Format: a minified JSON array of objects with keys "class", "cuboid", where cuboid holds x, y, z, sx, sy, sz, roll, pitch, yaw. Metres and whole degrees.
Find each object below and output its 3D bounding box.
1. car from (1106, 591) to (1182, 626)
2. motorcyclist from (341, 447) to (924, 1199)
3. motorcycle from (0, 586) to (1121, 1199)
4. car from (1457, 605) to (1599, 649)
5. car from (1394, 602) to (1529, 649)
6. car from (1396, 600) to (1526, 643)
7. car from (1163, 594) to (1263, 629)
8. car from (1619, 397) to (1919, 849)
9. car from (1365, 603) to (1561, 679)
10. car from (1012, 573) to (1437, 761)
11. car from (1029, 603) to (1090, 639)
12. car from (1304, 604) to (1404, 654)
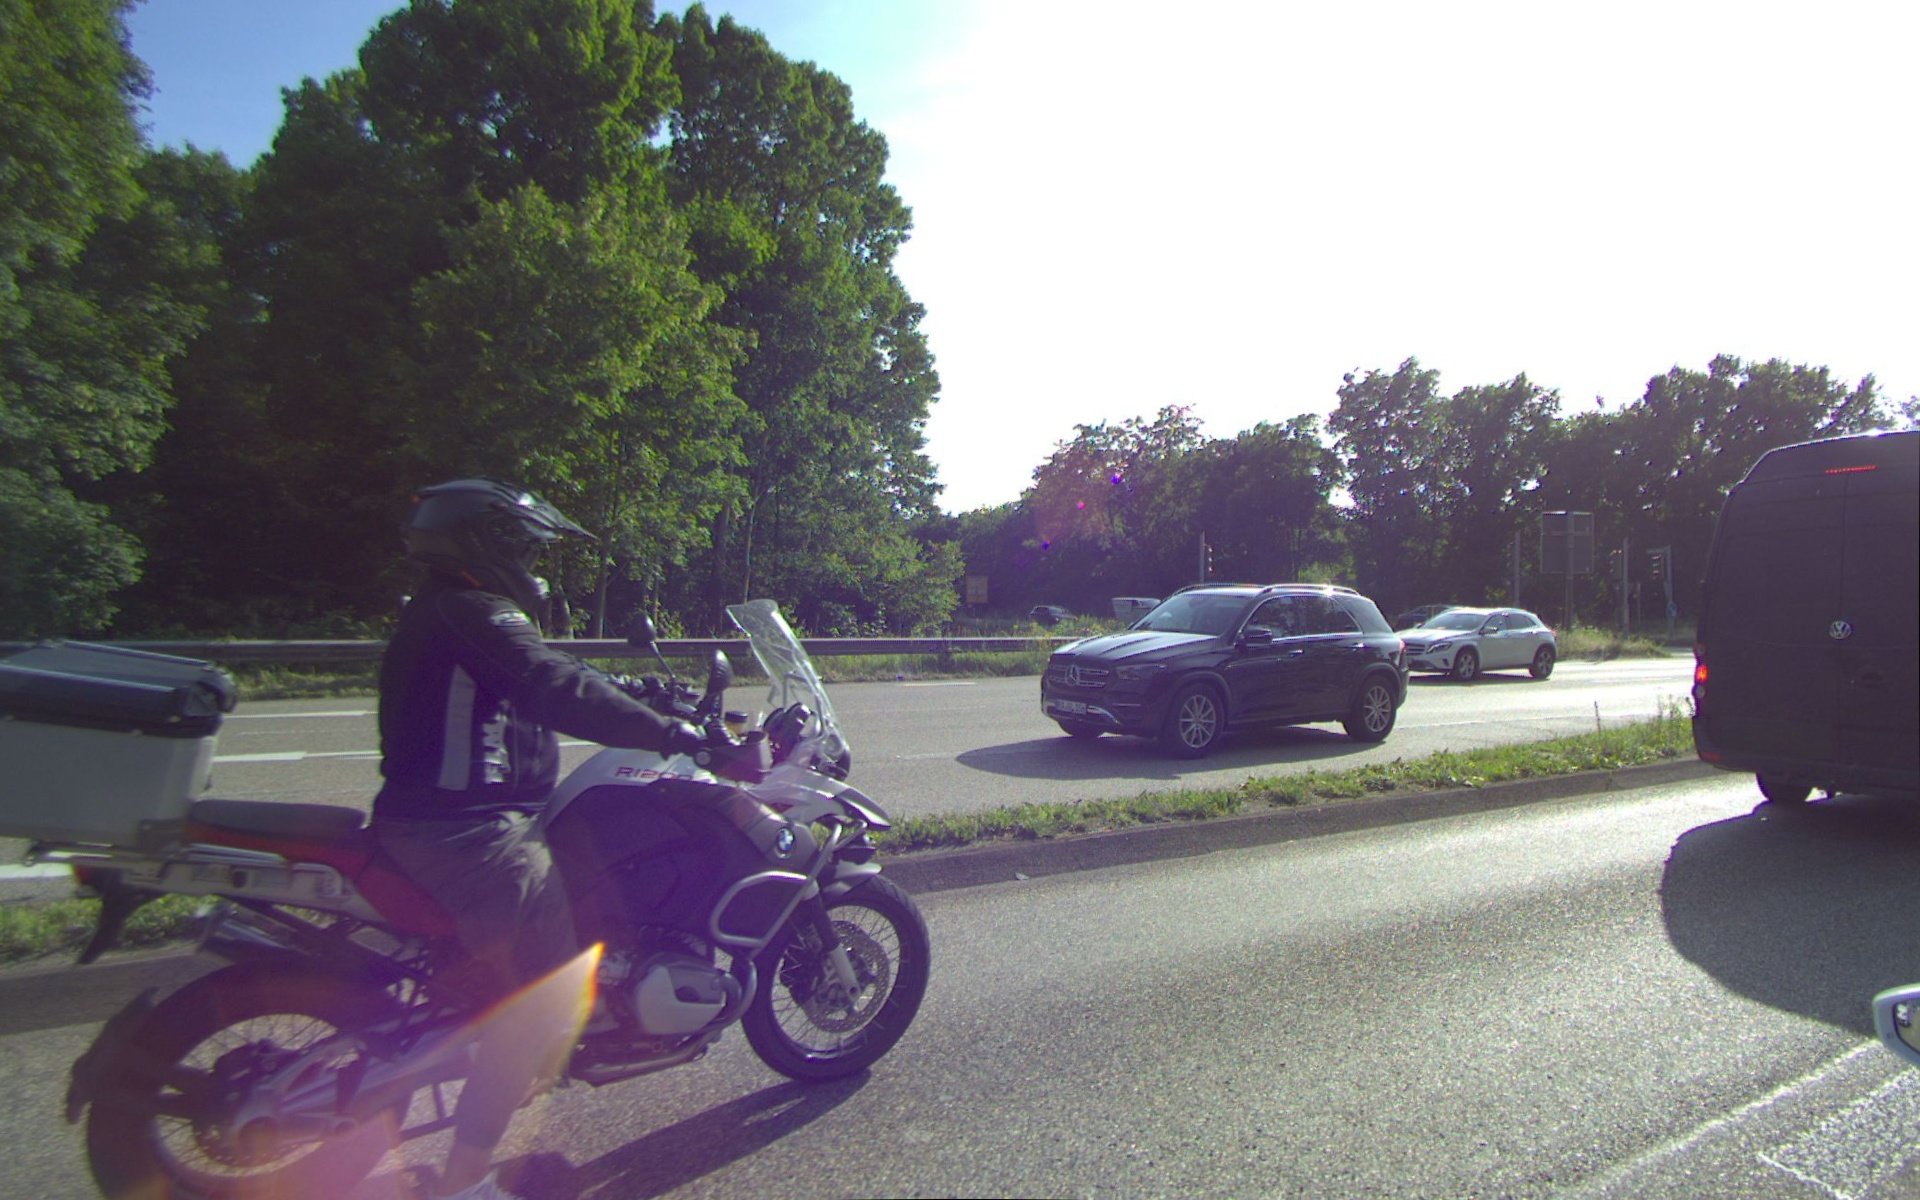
[{"class":"car","cuboid":[10.372,0.451,57.047,2.159,1.750,4.630,1,2,-20]},{"class":"motorcyclist","cuboid":[-0.871,0.504,2.739,1.272,1.638,0.881,1,2,-25]},{"class":"motorcycle","cuboid":[-0.934,0.742,2.719,2.652,1.472,0.906,1,-3,-25]},{"class":"car","cuboid":[23.453,1.071,41.680,2.143,1.510,4.685,1,2,-31]},{"class":"car","cuboid":[18.780,0.936,37.864,1.969,1.510,4.401,1,1,-20]},{"class":"car","cuboid":[20.453,0.855,41.212,1.977,1.510,4.385,1,2,-31]},{"class":"car","cuboid":[12.622,0.530,50.460,2.410,1.510,5.046,1,1,-20]},{"class":"car","cuboid":[8.932,0.205,8.802,6.921,2.927,2.202,1,-1,-27]},{"class":"car","cuboid":[11.029,0.867,21.978,4.215,1.523,1.874,1,-1,-31]},{"class":"car","cuboid":[3.117,0.689,11.626,4.700,1.787,2.066,1,-1,-30]},{"class":"car","cuboid":[6.481,1.353,65.973,2.159,2.124,4.630,1,2,-20]},{"class":"car","cuboid":[14.327,1.007,36.855,1.960,1.510,4.562,2,1,2]}]
